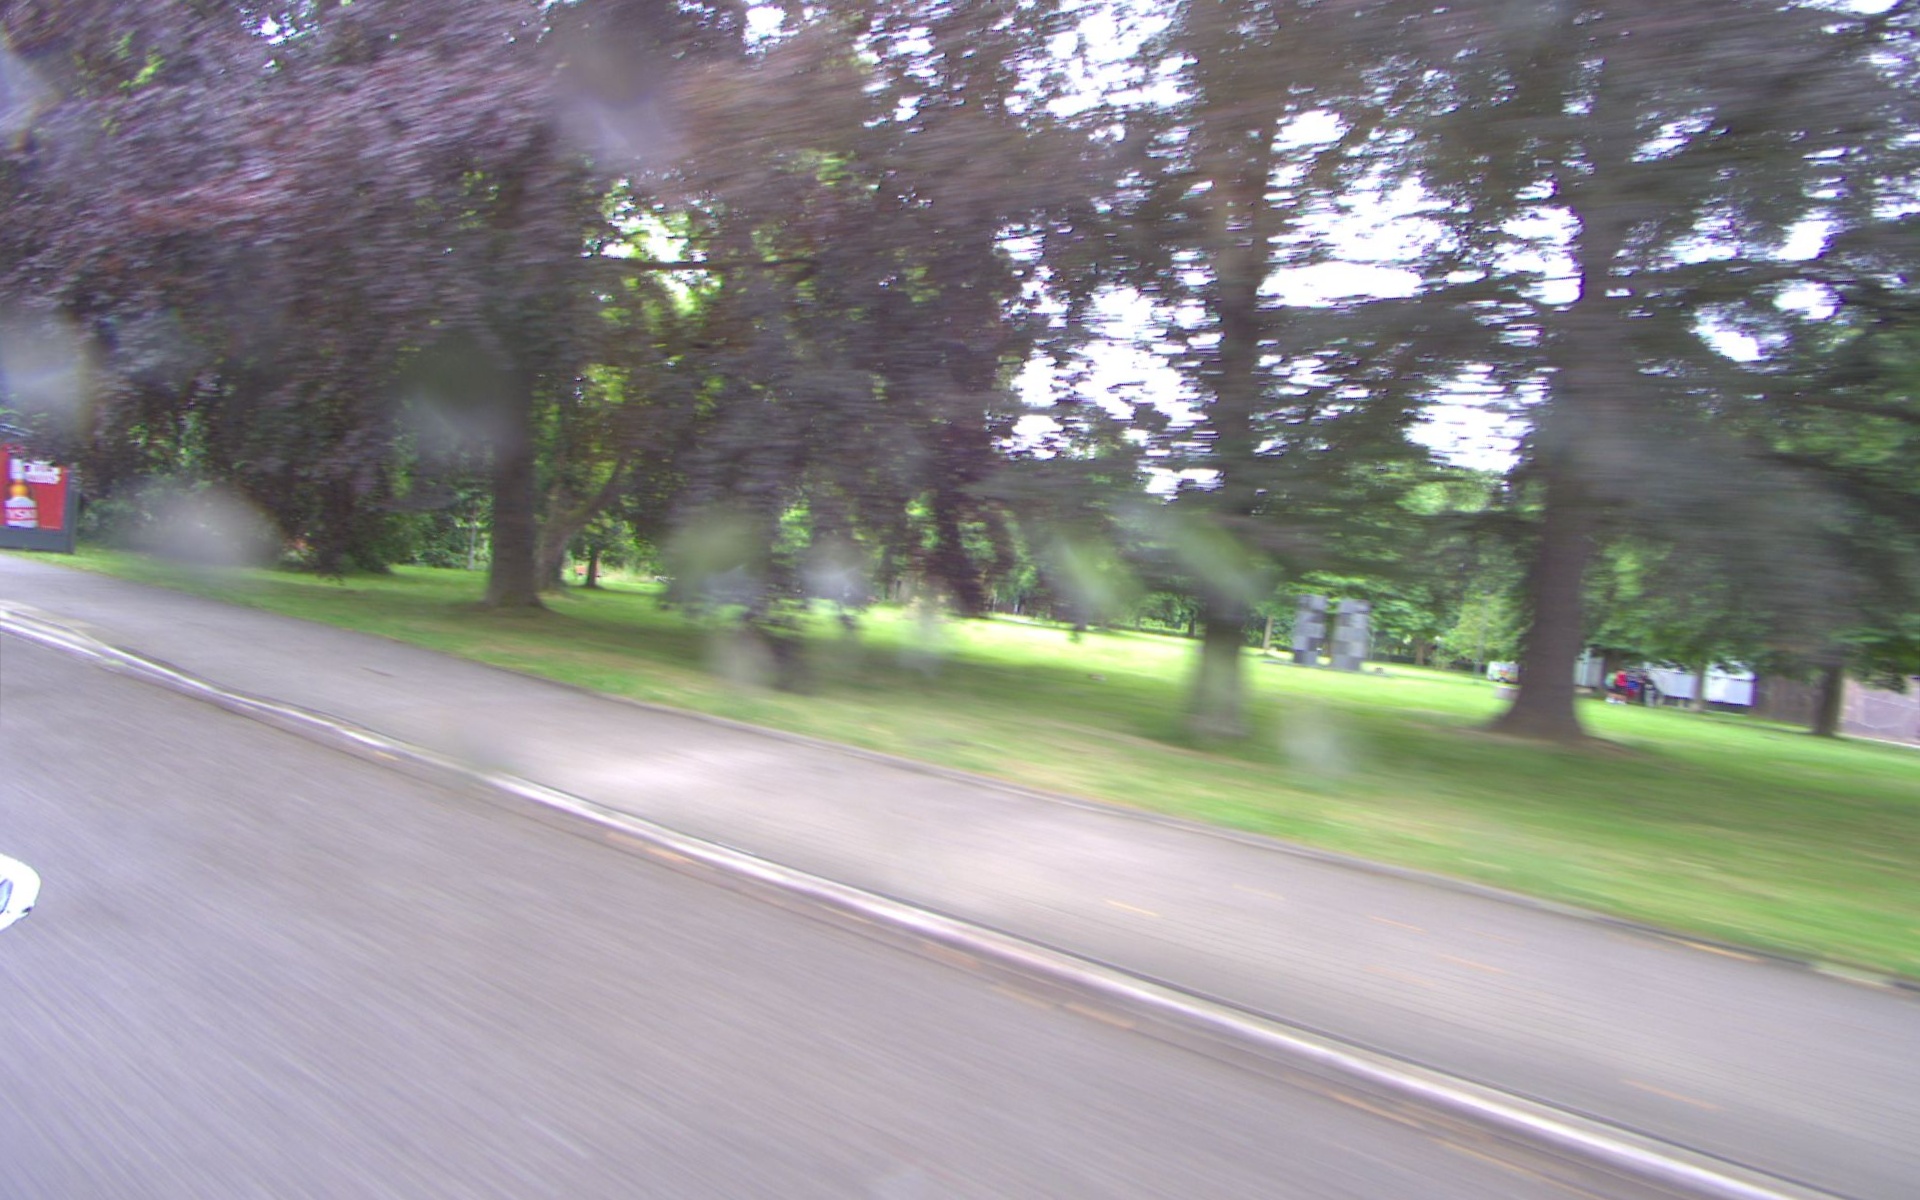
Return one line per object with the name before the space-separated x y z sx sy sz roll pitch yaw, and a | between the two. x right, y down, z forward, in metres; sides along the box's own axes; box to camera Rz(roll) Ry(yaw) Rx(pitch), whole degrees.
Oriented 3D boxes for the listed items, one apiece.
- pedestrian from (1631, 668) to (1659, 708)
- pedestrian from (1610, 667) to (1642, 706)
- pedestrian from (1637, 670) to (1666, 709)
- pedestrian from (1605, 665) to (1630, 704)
pedestrian | 32.631 4.183 47.941 0.843 1.783 0.841 6 -2 26
pedestrian | 32.570 4.239 49.208 0.842 1.783 0.841 7 -2 -2
pedestrian | 33.360 4.303 48.541 0.825 1.783 0.773 7 -2 19
pedestrian | 31.348 4.037 47.979 0.758 1.783 0.841 6 -2 26
